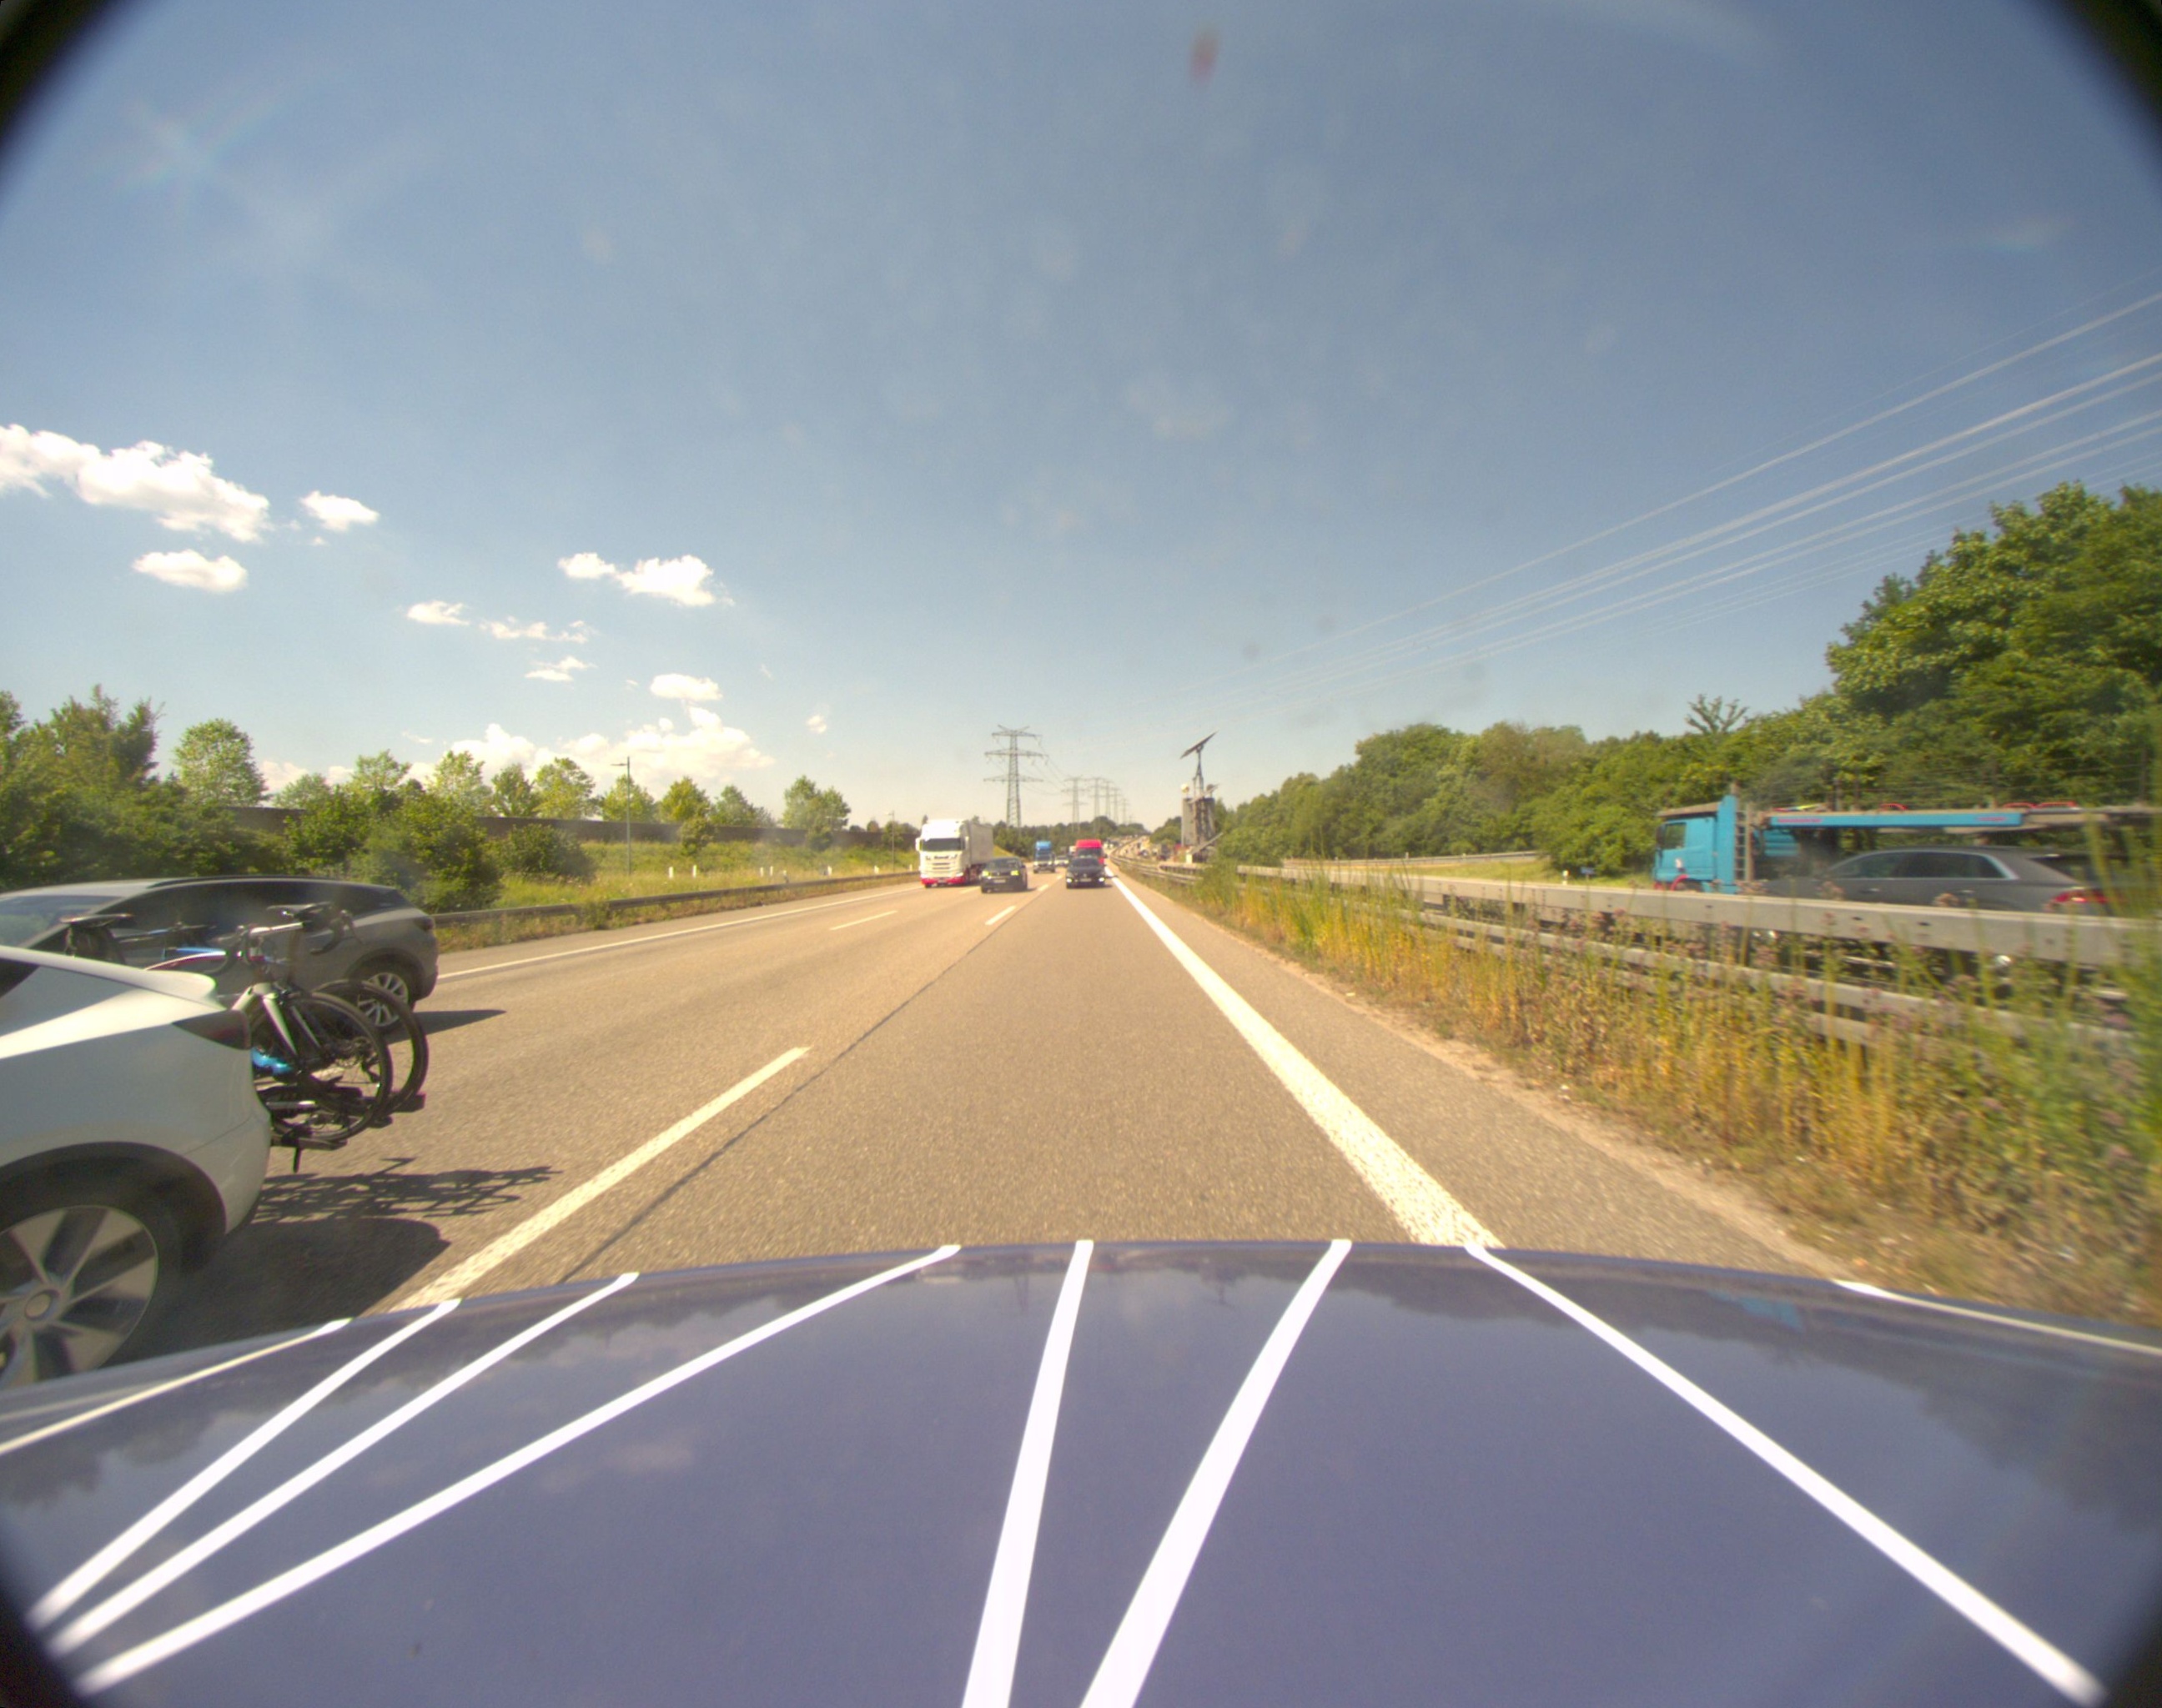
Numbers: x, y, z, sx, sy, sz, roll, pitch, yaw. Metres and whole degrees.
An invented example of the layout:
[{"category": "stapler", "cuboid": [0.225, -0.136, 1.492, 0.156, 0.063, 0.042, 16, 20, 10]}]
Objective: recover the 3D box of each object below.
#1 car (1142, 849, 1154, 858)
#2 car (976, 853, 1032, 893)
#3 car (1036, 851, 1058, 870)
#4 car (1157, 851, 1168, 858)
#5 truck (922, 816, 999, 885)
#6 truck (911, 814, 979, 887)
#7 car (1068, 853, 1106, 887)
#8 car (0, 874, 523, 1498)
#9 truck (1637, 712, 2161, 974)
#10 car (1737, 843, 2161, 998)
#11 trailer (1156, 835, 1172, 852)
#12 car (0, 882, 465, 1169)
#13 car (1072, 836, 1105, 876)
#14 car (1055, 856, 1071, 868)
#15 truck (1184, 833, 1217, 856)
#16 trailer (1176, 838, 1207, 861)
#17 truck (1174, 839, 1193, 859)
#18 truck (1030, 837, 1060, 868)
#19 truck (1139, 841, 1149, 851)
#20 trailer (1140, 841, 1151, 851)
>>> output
[{"category": "car", "cuboid": [11.906, -0.137, 135.501, 1.728, 1.517, 4.000, 0, 0, 1]}, {"category": "car", "cuboid": [-3.503, 0.832, 35.289, 1.955, 1.636, 4.047, -3, 1, 2]}, {"category": "car", "cuboid": [-3.114, 0.560, 70.426, 1.749, 1.691, 4.088, 0, 1, 2]}, {"category": "car", "cuboid": [16.313, 0.060, 152.958, 1.774, 1.326, 4.921, 0, 0, 1]}, {"category": "truck", "cuboid": [-7.787, -0.246, 50.980, 3.076, 3.885, 12.502, -2, 0, 0]}, {"category": "truck", "cuboid": [-7.757, -0.199, 43.829, 3.076, 3.885, 3.846, -2, 1, 0]}, {"category": "car", "cuboid": [0.324, 0.724, 36.573, 1.735, 1.535, 3.750, 0, 1, 2]}, {"category": "car", "cuboid": [-3.946, 0.986, 1.179, 1.955, 1.627, 5.599, -2, 1, 0]}, {"category": "truck", "cuboid": [17.150, -0.218, 16.056, 3.003, 3.780, 10.788, -1, 1, 1]}, {"category": "car", "cuboid": [12.011, 0.702, 10.471, 1.728, 1.647, 4.860, 1, 0, 0]}, {"category": "trailer", "cuboid": [21.931, -2.672, 201.066, 3.182, 4.316, 13.814, -1, 1, 3]}, {"category": "car", "cuboid": [-7.653, 1.171, 5.905, 1.873, 1.627, 4.585, -2, 1, 1]}, {"category": "car", "cuboid": [0.576, 0.082, 51.700, 2.100, 2.598, 4.496, 0, 1, 2]}, {"category": "car", "cuboid": [-2.368, 1.021, 99.139, 1.878, 1.591, 3.688, 0, 1, 2]}, {"category": "truck", "cuboid": [24.793, -1.880, 158.684, 3.005, 4.314, 14.541, -1, -2, -7]}, {"category": "trailer", "cuboid": [17.925, -0.794, 124.277, 3.003, 3.538, 16.022, -1, 0, 1]}, {"category": "truck", "cuboid": [18.039, -0.874, 133.842, 3.003, 3.538, 3.118, -1, 1, 1]}, {"category": "truck", "cuboid": [-6.090, -0.299, 131.710, 3.797, 4.971, 14.924, -2, 1, 2]}, {"category": "truck", "cuboid": [20.582, -2.574, 248.345, 2.921, 3.281, 5.330, -1, 1, 1]}, {"category": "trailer", "cuboid": [20.450, -2.504, 242.381, 2.921, 3.281, 9.710, -1, 1, 1]}]
